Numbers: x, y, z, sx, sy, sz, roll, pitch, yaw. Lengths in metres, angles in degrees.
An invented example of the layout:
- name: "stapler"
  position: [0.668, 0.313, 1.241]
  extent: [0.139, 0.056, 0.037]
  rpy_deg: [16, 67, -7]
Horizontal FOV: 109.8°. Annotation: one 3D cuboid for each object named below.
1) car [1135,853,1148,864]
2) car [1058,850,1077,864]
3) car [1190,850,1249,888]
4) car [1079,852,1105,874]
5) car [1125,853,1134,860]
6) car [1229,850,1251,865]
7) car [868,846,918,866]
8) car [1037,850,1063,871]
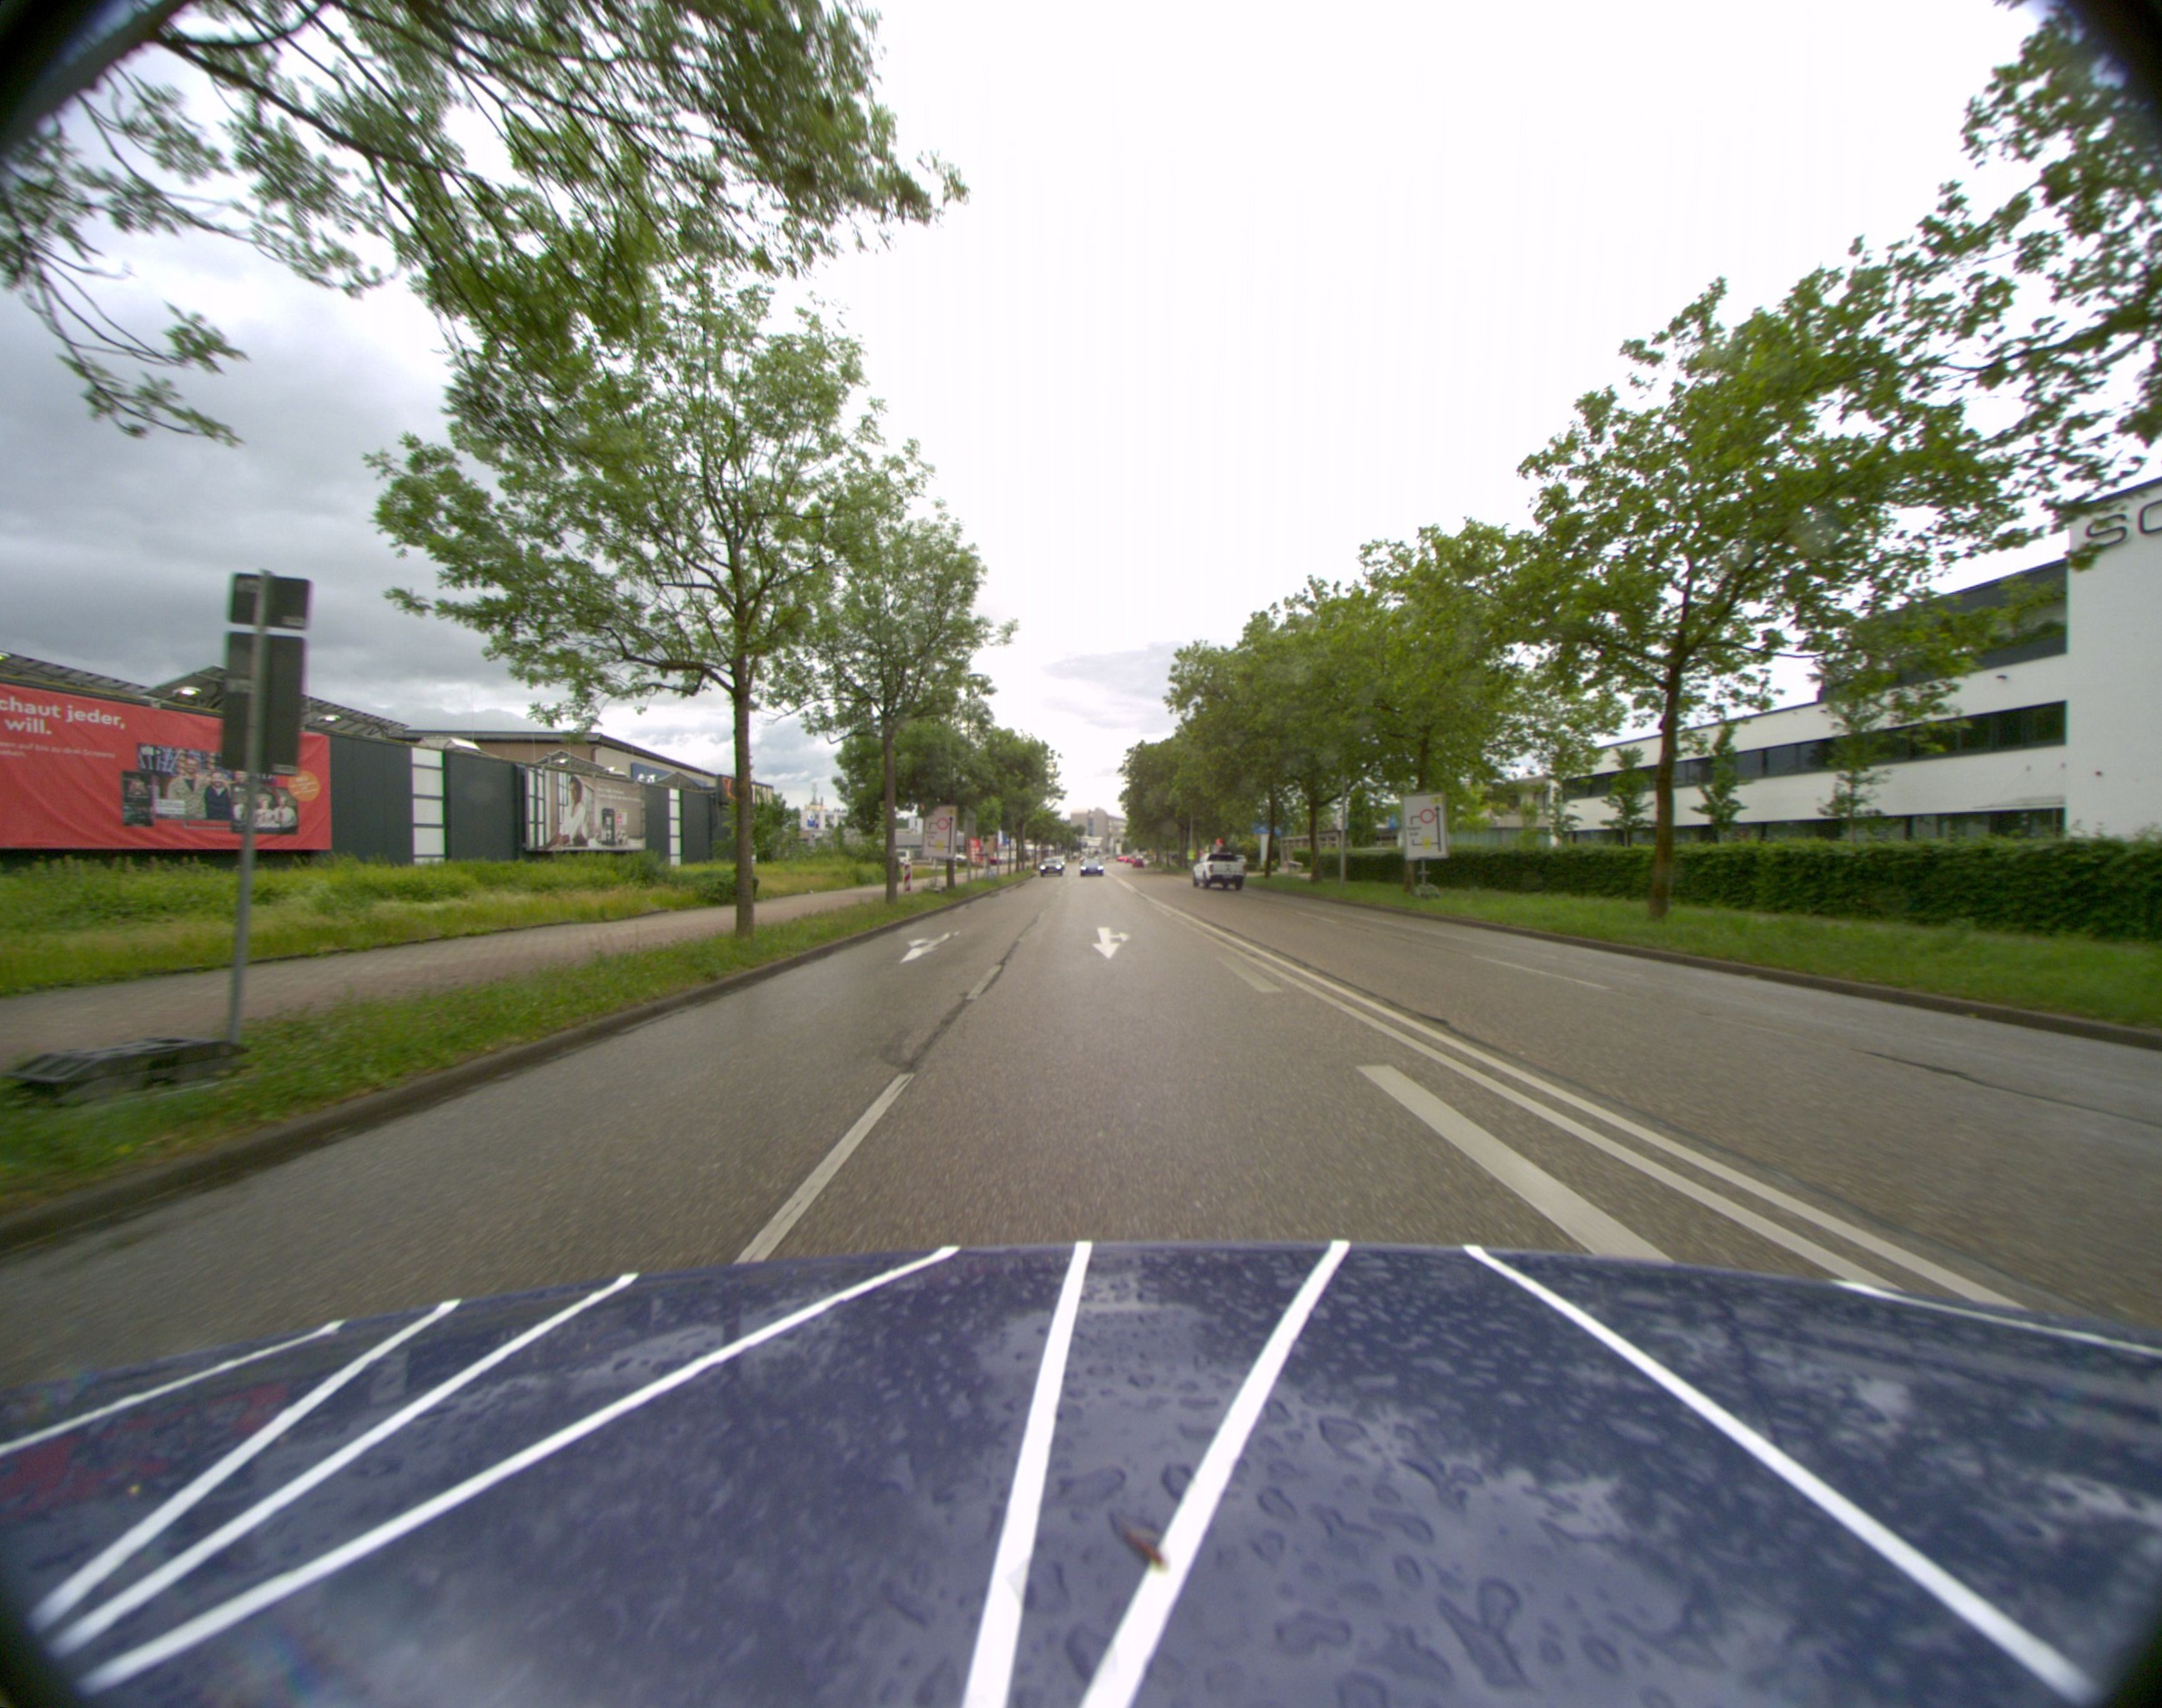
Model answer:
- name: "car"
  position: [9.019, 0.680, 113.357]
  extent: [1.745, 1.525, 4.001]
  rpy_deg: [2, 1, 4]
- name: "car"
  position: [-1.609, 0.345, 90.975]
  extent: [1.998, 1.632, 4.360]
  rpy_deg: [-2, 1, 1]
- name: "car"
  position: [6.970, 0.705, 38.788]
  extent: [1.916, 1.795, 5.340]
  rpy_deg: [1, 0, -1]
- name: "car"
  position: [0.929, 0.700, 61.934]
  extent: [1.998, 1.632, 4.360]
  rpy_deg: [-2, 1, 1]
- name: "car"
  position: [11.532, 0.499, 181.986]
  extent: [1.998, 1.632, 4.360]
  rpy_deg: [0, 0, 1]
- name: "car"
  position: [18.210, 0.380, 87.222]
  extent: [1.746, 1.525, 4.000]
  rpy_deg: [2, 1, 2]
- name: "car"
  position: [-19.370, 0.211, 78.505]
  extent: [4.966, 2.002, 1.998]
  rpy_deg: [1, 0, -11]
- name: "car"
  position: [-2.670, 0.522, 66.415]
  extent: [1.998, 1.632, 4.360]
  rpy_deg: [-2, 1, 1]
